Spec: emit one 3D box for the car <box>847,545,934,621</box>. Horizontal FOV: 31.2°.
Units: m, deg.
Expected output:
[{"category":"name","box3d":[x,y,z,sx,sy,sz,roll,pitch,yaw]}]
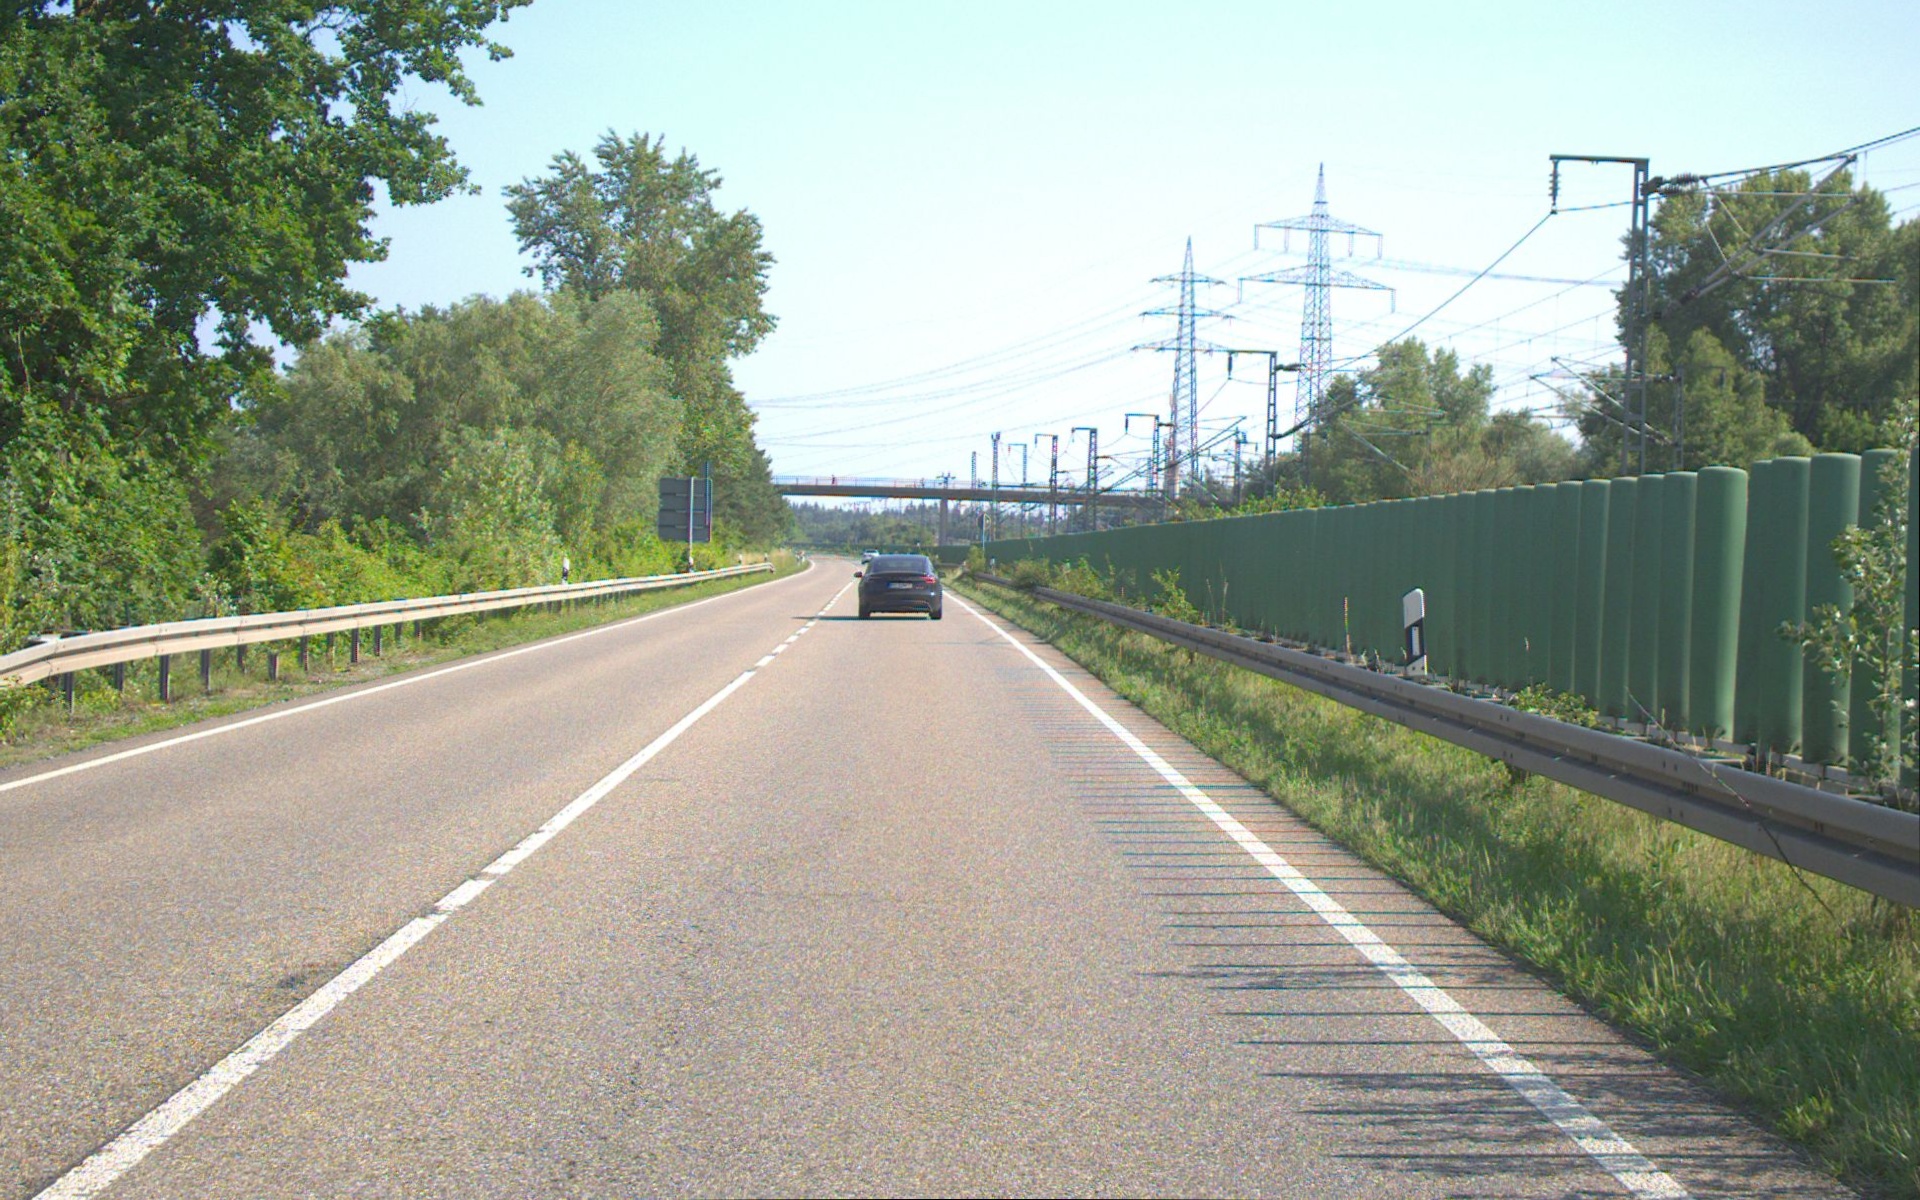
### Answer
[{"category":"car","box3d":[-1.575,-0.395,76.715,1.858,1.636,4.000,-1,1,-2]}]
